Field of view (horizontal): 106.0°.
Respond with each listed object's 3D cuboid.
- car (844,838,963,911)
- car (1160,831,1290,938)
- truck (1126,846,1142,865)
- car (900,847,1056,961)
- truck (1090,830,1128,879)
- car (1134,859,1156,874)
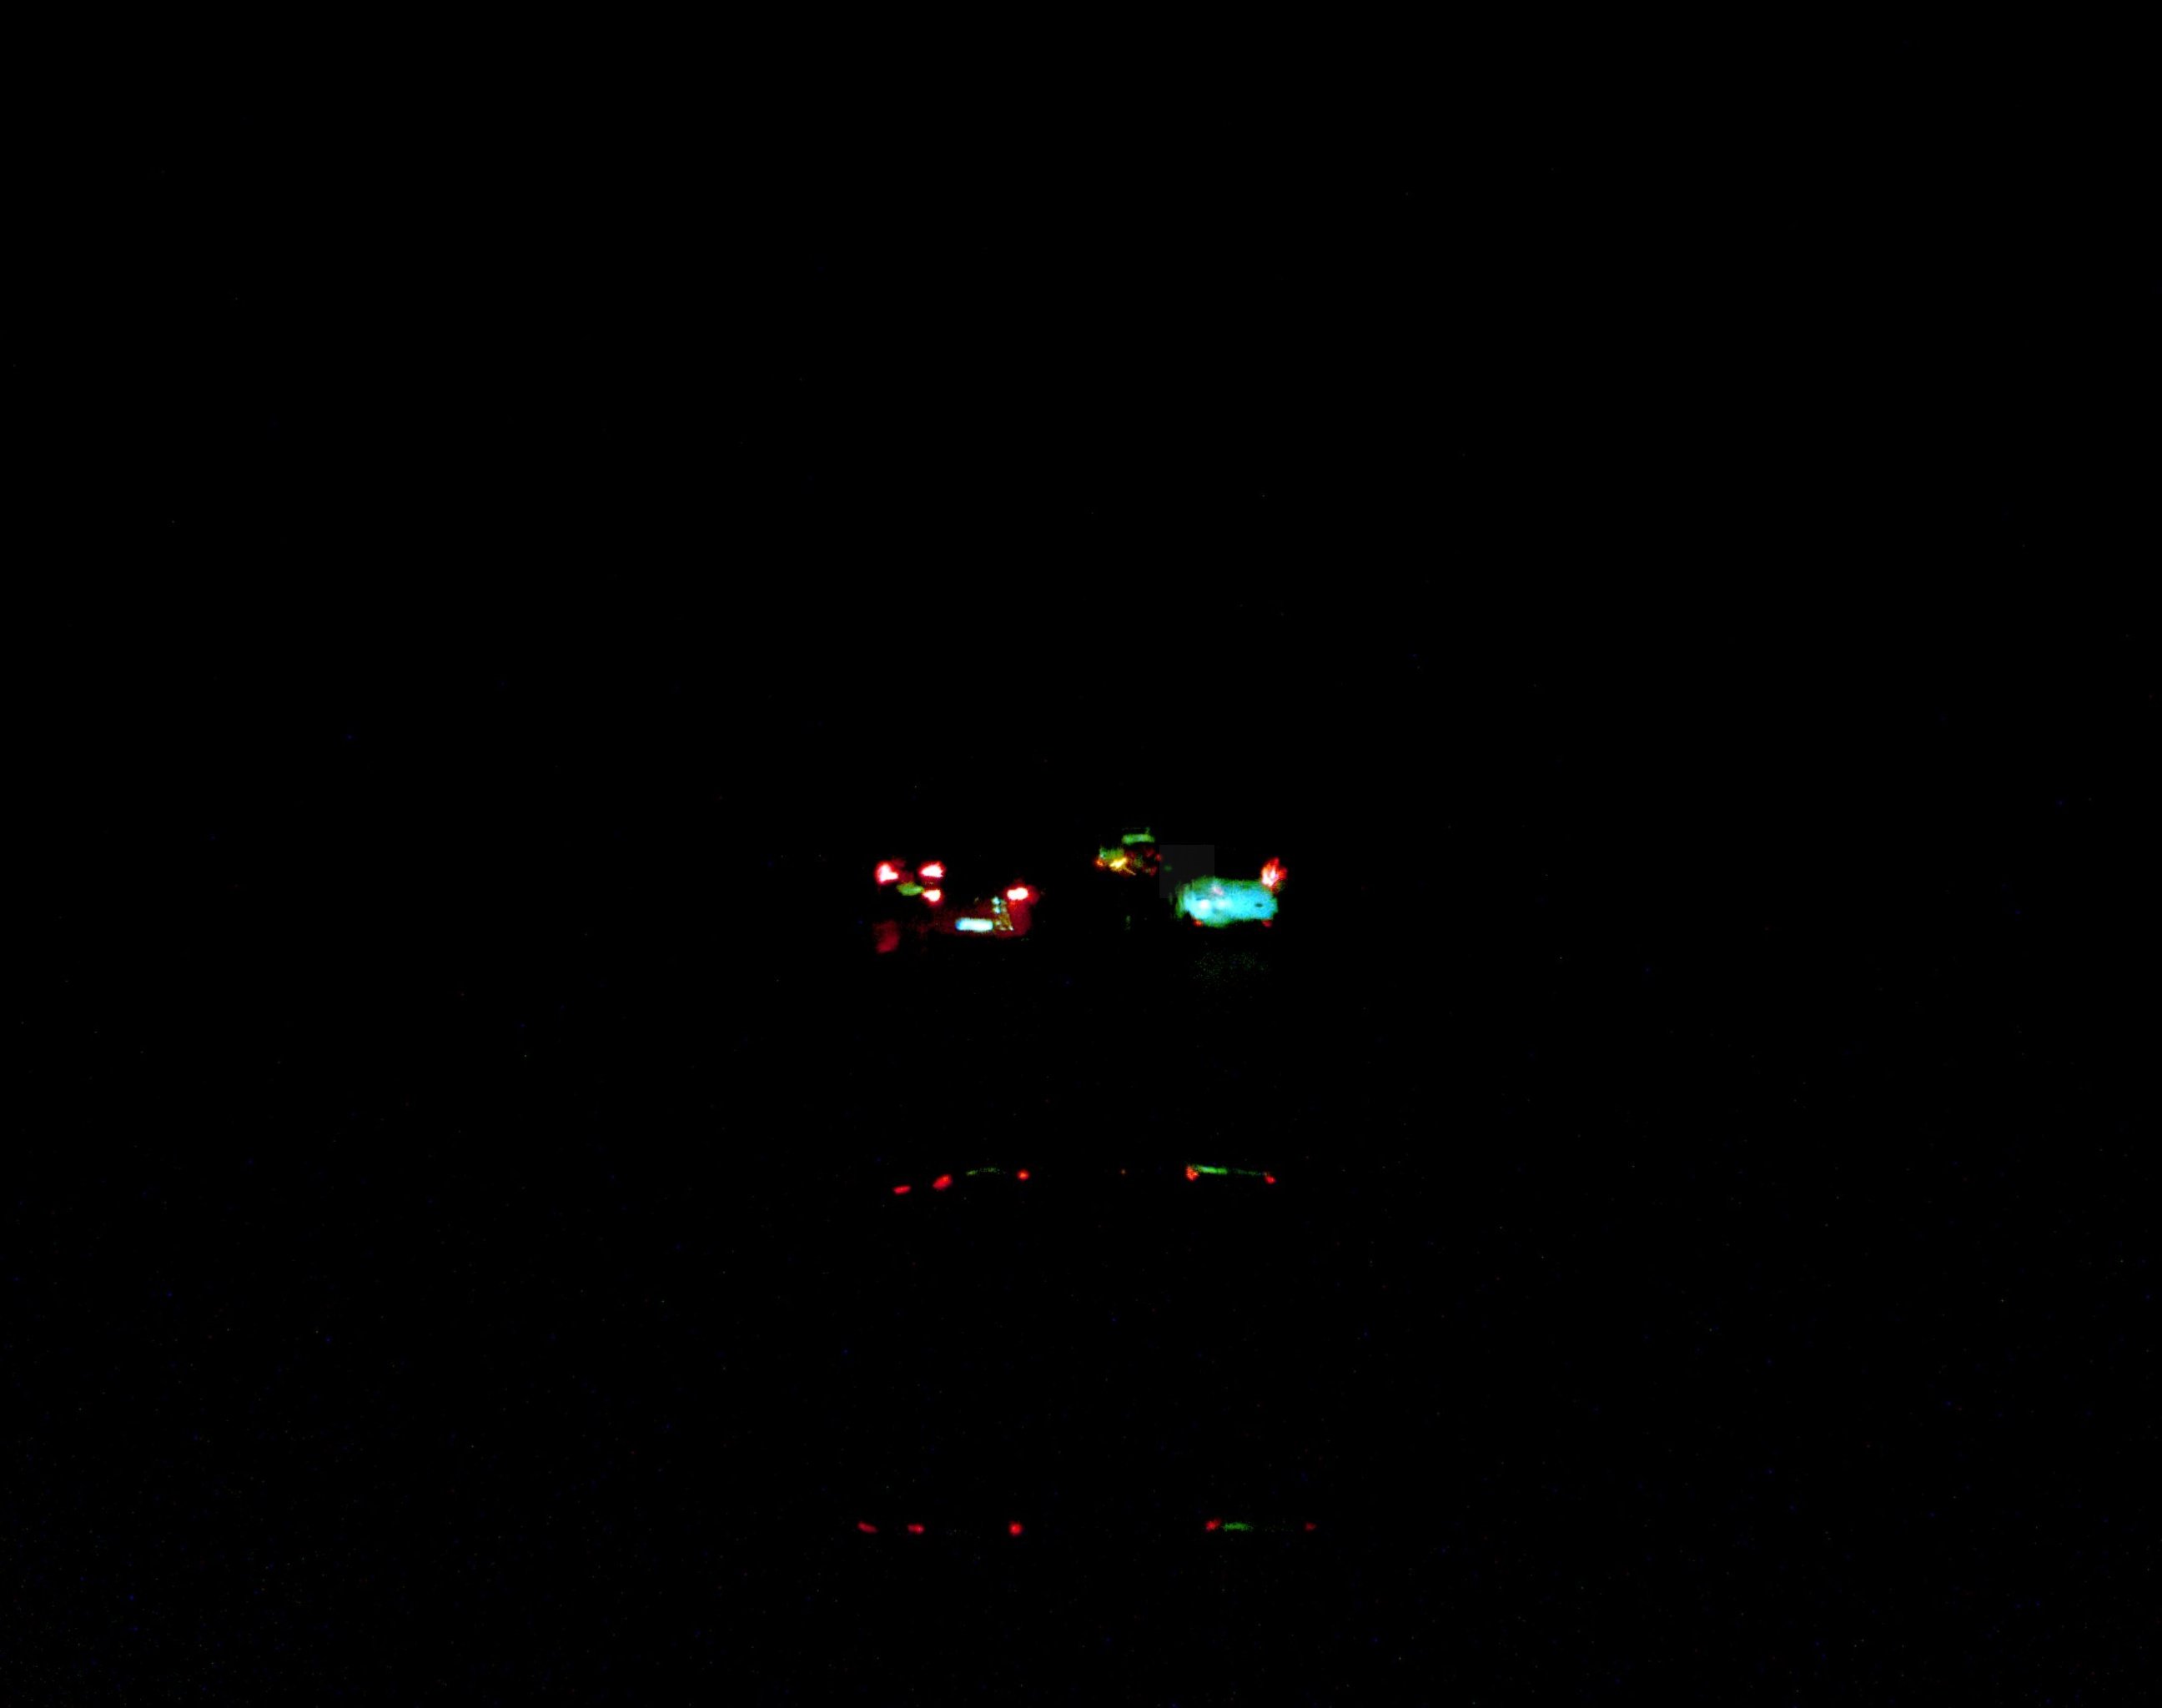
[{"bbox_3d":[-4.787,0.545,22.784,1.985,1.777,4.890,-2,-1,3],"label":"car"},{"bbox_3d":[2.729,0.553,16.606,1.945,1.792,5.127,-2,-1,3],"label":"car"},{"bbox_3d":[14.204,0.504,220.075,3.809,4.915,11.611,-2,-1,2],"label":"truck"},{"bbox_3d":[-1.563,0.749,13.897,1.908,1.594,4.235,-2,-1,2],"label":"car"},{"bbox_3d":[3.508,0.192,100.661,4.151,5.544,13.080,-2,-1,2],"label":"truck"},{"bbox_3d":[6.171,1.160,79.307,1.883,1.354,4.001,2,0,2],"label":"car"}]
